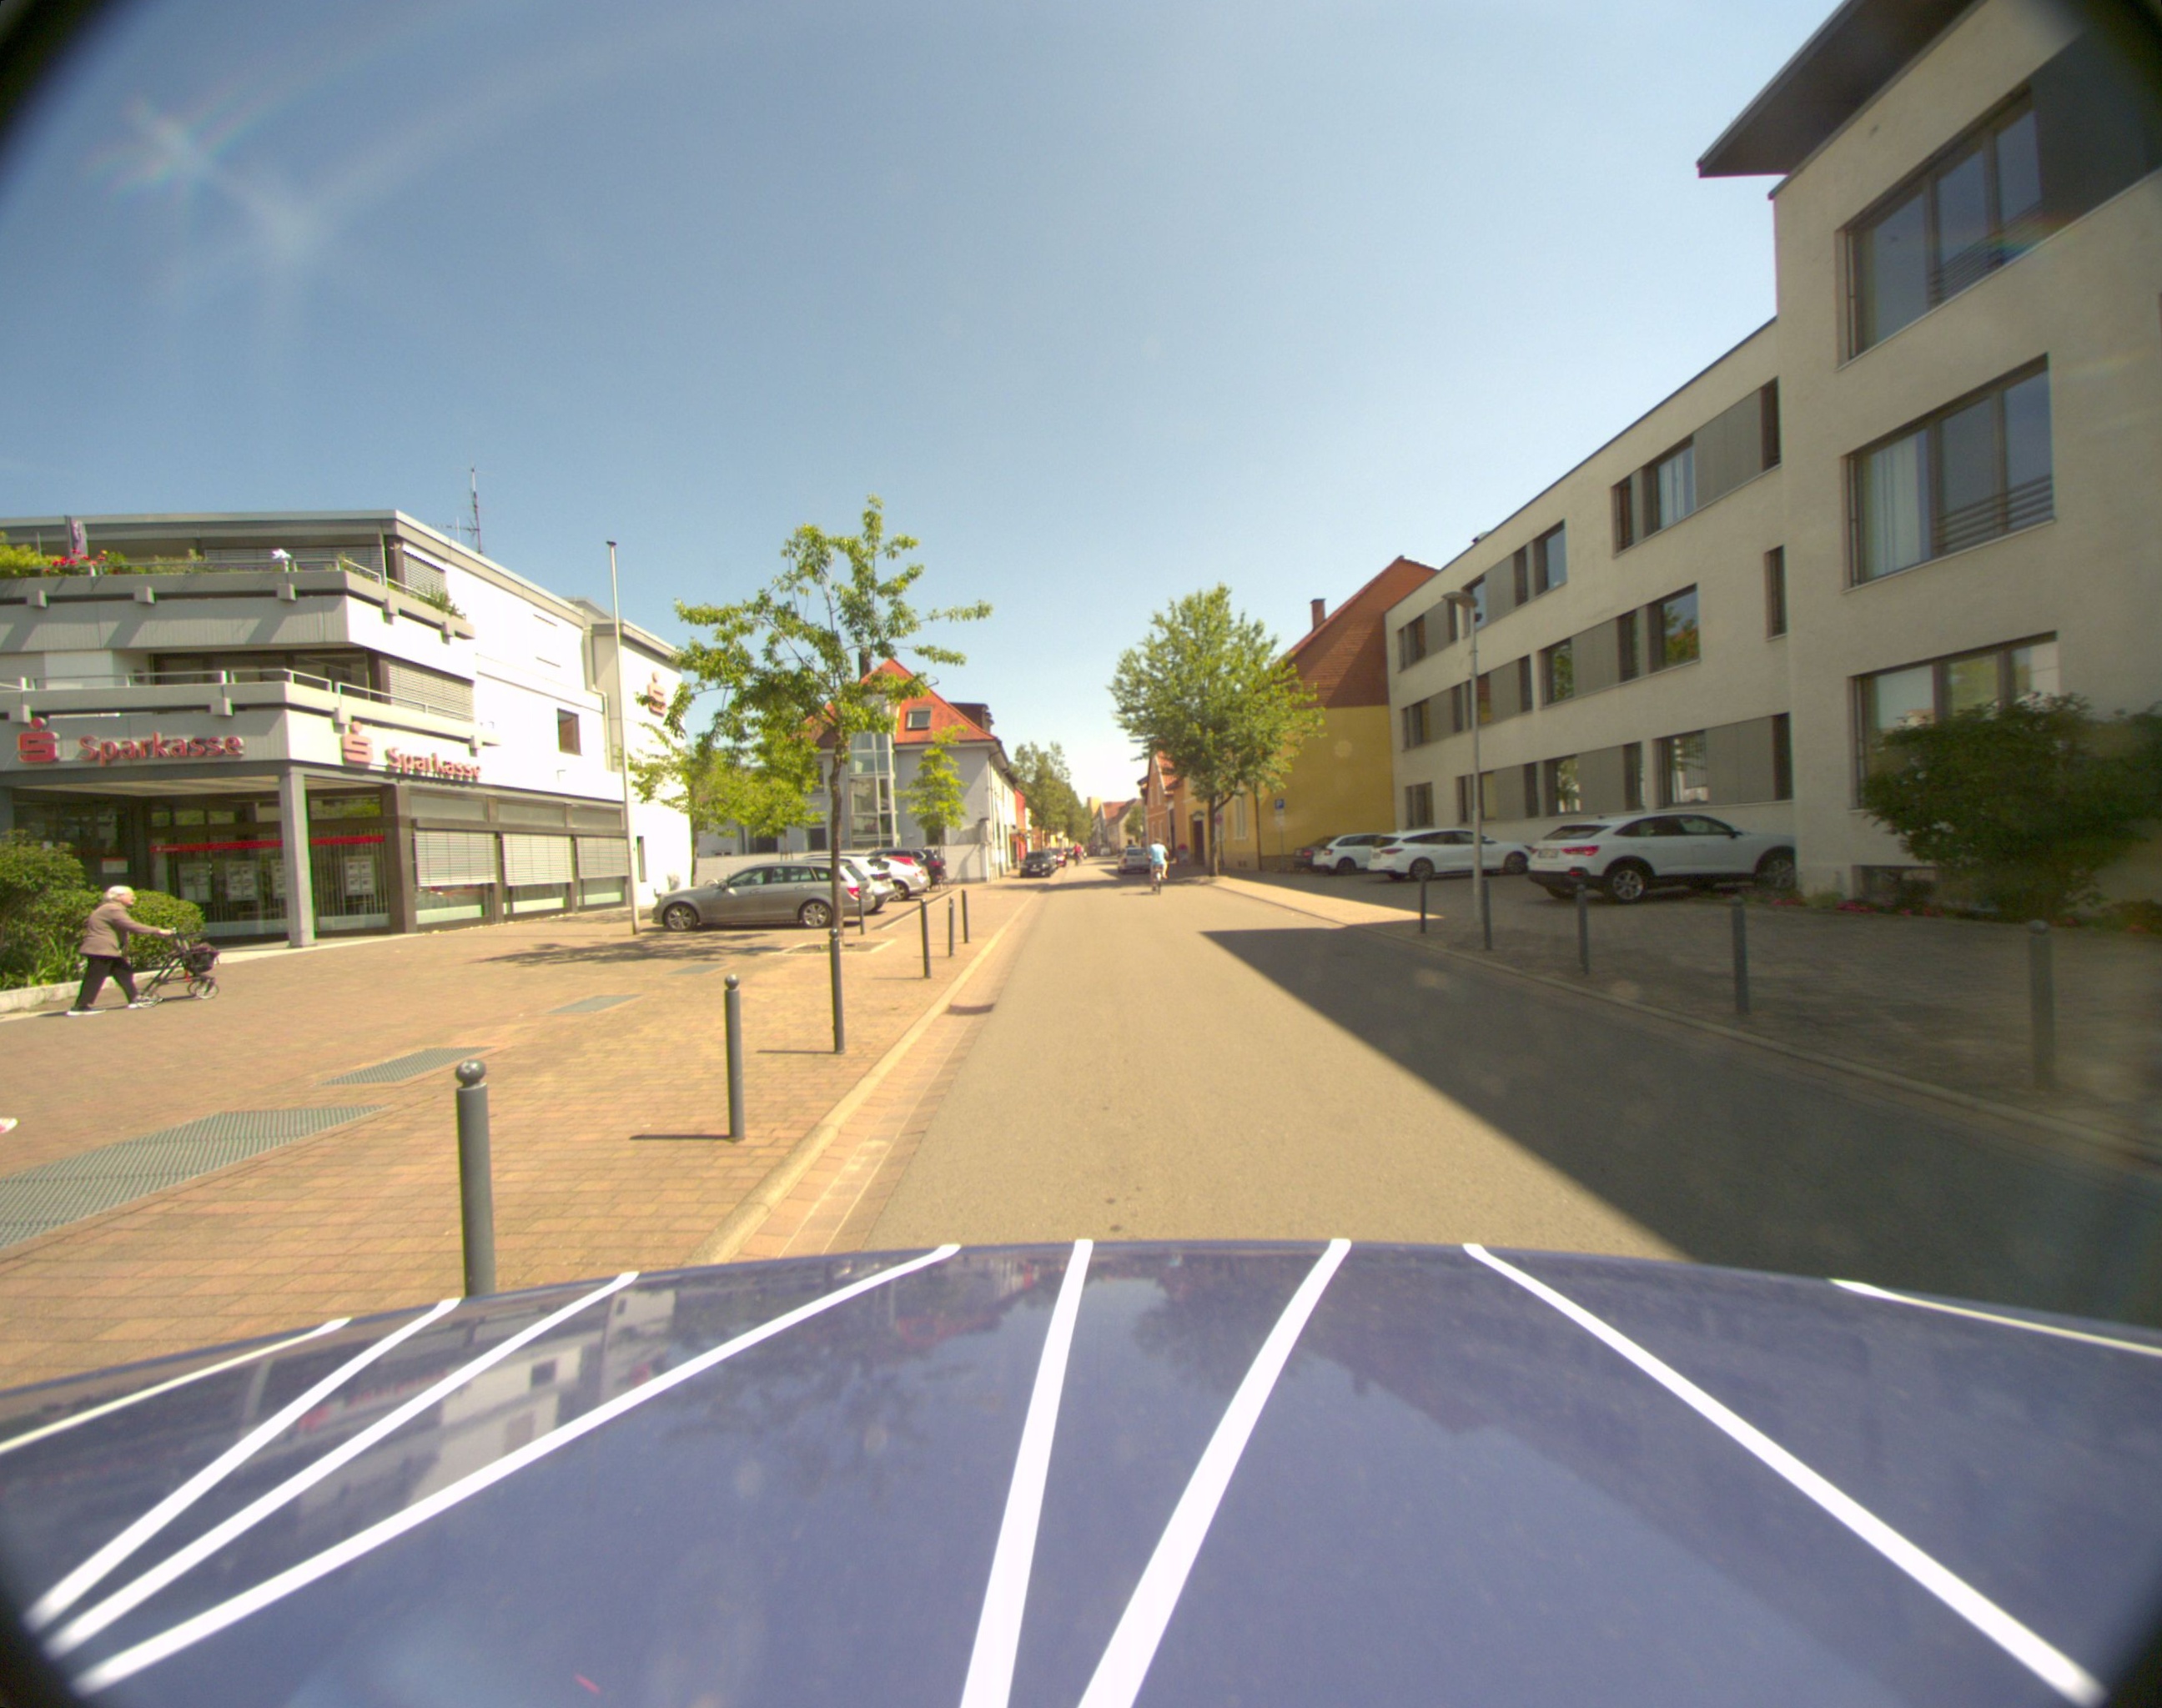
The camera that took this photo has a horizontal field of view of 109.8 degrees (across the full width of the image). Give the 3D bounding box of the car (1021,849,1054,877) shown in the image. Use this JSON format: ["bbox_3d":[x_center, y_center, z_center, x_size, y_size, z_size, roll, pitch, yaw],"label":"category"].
[{"bbox_3d":[-2.389,0.461,42.496,1.708,1.473,3.920,-1,1,-1],"label":"car"}]

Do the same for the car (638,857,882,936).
[{"bbox_3d":[-6.928,0.888,16.877,4.589,1.504,1.915,-1,1,-6],"label":"car"}]

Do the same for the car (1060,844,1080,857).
[{"bbox_3d":[-1.413,-0.499,100.260,1.928,1.594,4.110,-3,1,7],"label":"car"}]

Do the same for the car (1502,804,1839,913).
[{"bbox_3d":[10.636,0.059,13.982,4.518,1.545,2.147,-4,1,-2],"label":"car"}]

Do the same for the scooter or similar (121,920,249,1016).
[{"bbox_3d":[-11.319,1.423,9.627,0.590,1.069,0.805,-3,1,8],"label":"scooter or similar"}]

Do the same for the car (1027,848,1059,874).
[{"bbox_3d":[-2.379,0.407,48.226,1.721,1.473,4.095,-2,1,1],"label":"car"}]

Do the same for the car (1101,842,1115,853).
[{"bbox_3d":[5.813,-1.387,162.875,2.443,2.224,4.958,-3,1,-3],"label":"car"}]

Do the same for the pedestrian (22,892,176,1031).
[{"bbox_3d":[-11.430,1.227,8.872,0.668,1.488,0.811,-3,1,10],"label":"pedestrian"}]

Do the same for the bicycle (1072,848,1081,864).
[{"bbox_3d":[-0.378,0.173,60.731,0.635,1.227,1.894,-1,-1,2],"label":"bicycle"}]

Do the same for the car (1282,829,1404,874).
[{"bbox_3d":[10.256,-0.099,29.954,3.998,1.423,1.971,-4,0,-4],"label":"car"}]

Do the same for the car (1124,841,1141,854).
[{"bbox_3d":[6.806,-0.906,100.058,1.863,1.620,4.048,-3,1,7],"label":"car"}]

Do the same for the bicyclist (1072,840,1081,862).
[{"bbox_3d":[-0.381,-0.251,60.730,0.645,1.766,0.722,-1,0,2],"label":"bicyclist"}]

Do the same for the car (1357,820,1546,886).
[{"bbox_3d":[10.751,-0.053,22.279,4.515,1.545,1.934,-4,2,0],"label":"car"}]

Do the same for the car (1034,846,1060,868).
[{"bbox_3d":[-2.445,0.223,56.032,1.741,1.504,3.735,-2,0,-1],"label":"car"}]

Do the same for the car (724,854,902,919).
[{"bbox_3d":[-6.867,0.809,19.830,3.998,1.564,1.856,0,1,-4],"label":"car"}]

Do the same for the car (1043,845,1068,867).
[{"bbox_3d":[-2.139,0.128,62.158,1.834,1.579,4.086,-4,1,-3],"label":"car"}]

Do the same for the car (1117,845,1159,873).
[{"bbox_3d":[3.098,0.258,42.033,1.885,1.455,4.435,-1,1,-1],"label":"car"}]

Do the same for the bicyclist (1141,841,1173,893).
[{"bbox_3d":[2.281,0.391,22.694,0.669,1.518,0.763,-1,1,29],"label":"bicyclist"}]

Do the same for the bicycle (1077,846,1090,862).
[{"bbox_3d":[0.266,0.001,69.107,0.959,1.363,2.406,-2,1,4],"label":"bicycle"}]

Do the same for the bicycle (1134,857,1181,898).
[{"bbox_3d":[2.313,0.679,22.744,0.674,1.103,1.899,-1,1,29],"label":"bicycle"}]

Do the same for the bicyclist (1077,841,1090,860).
[{"bbox_3d":[0.210,-0.337,68.600,1.028,1.635,1.025,-2,1,3],"label":"bicyclist"}]

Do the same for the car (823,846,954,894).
[{"bbox_3d":[-7.471,0.602,29.904,4.643,1.761,2.147,-1,0,-3],"label":"car"}]

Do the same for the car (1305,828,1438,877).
[{"bbox_3d":[10.370,-0.050,27.328,3.997,1.443,1.807,-4,0,0],"label":"car"}]
